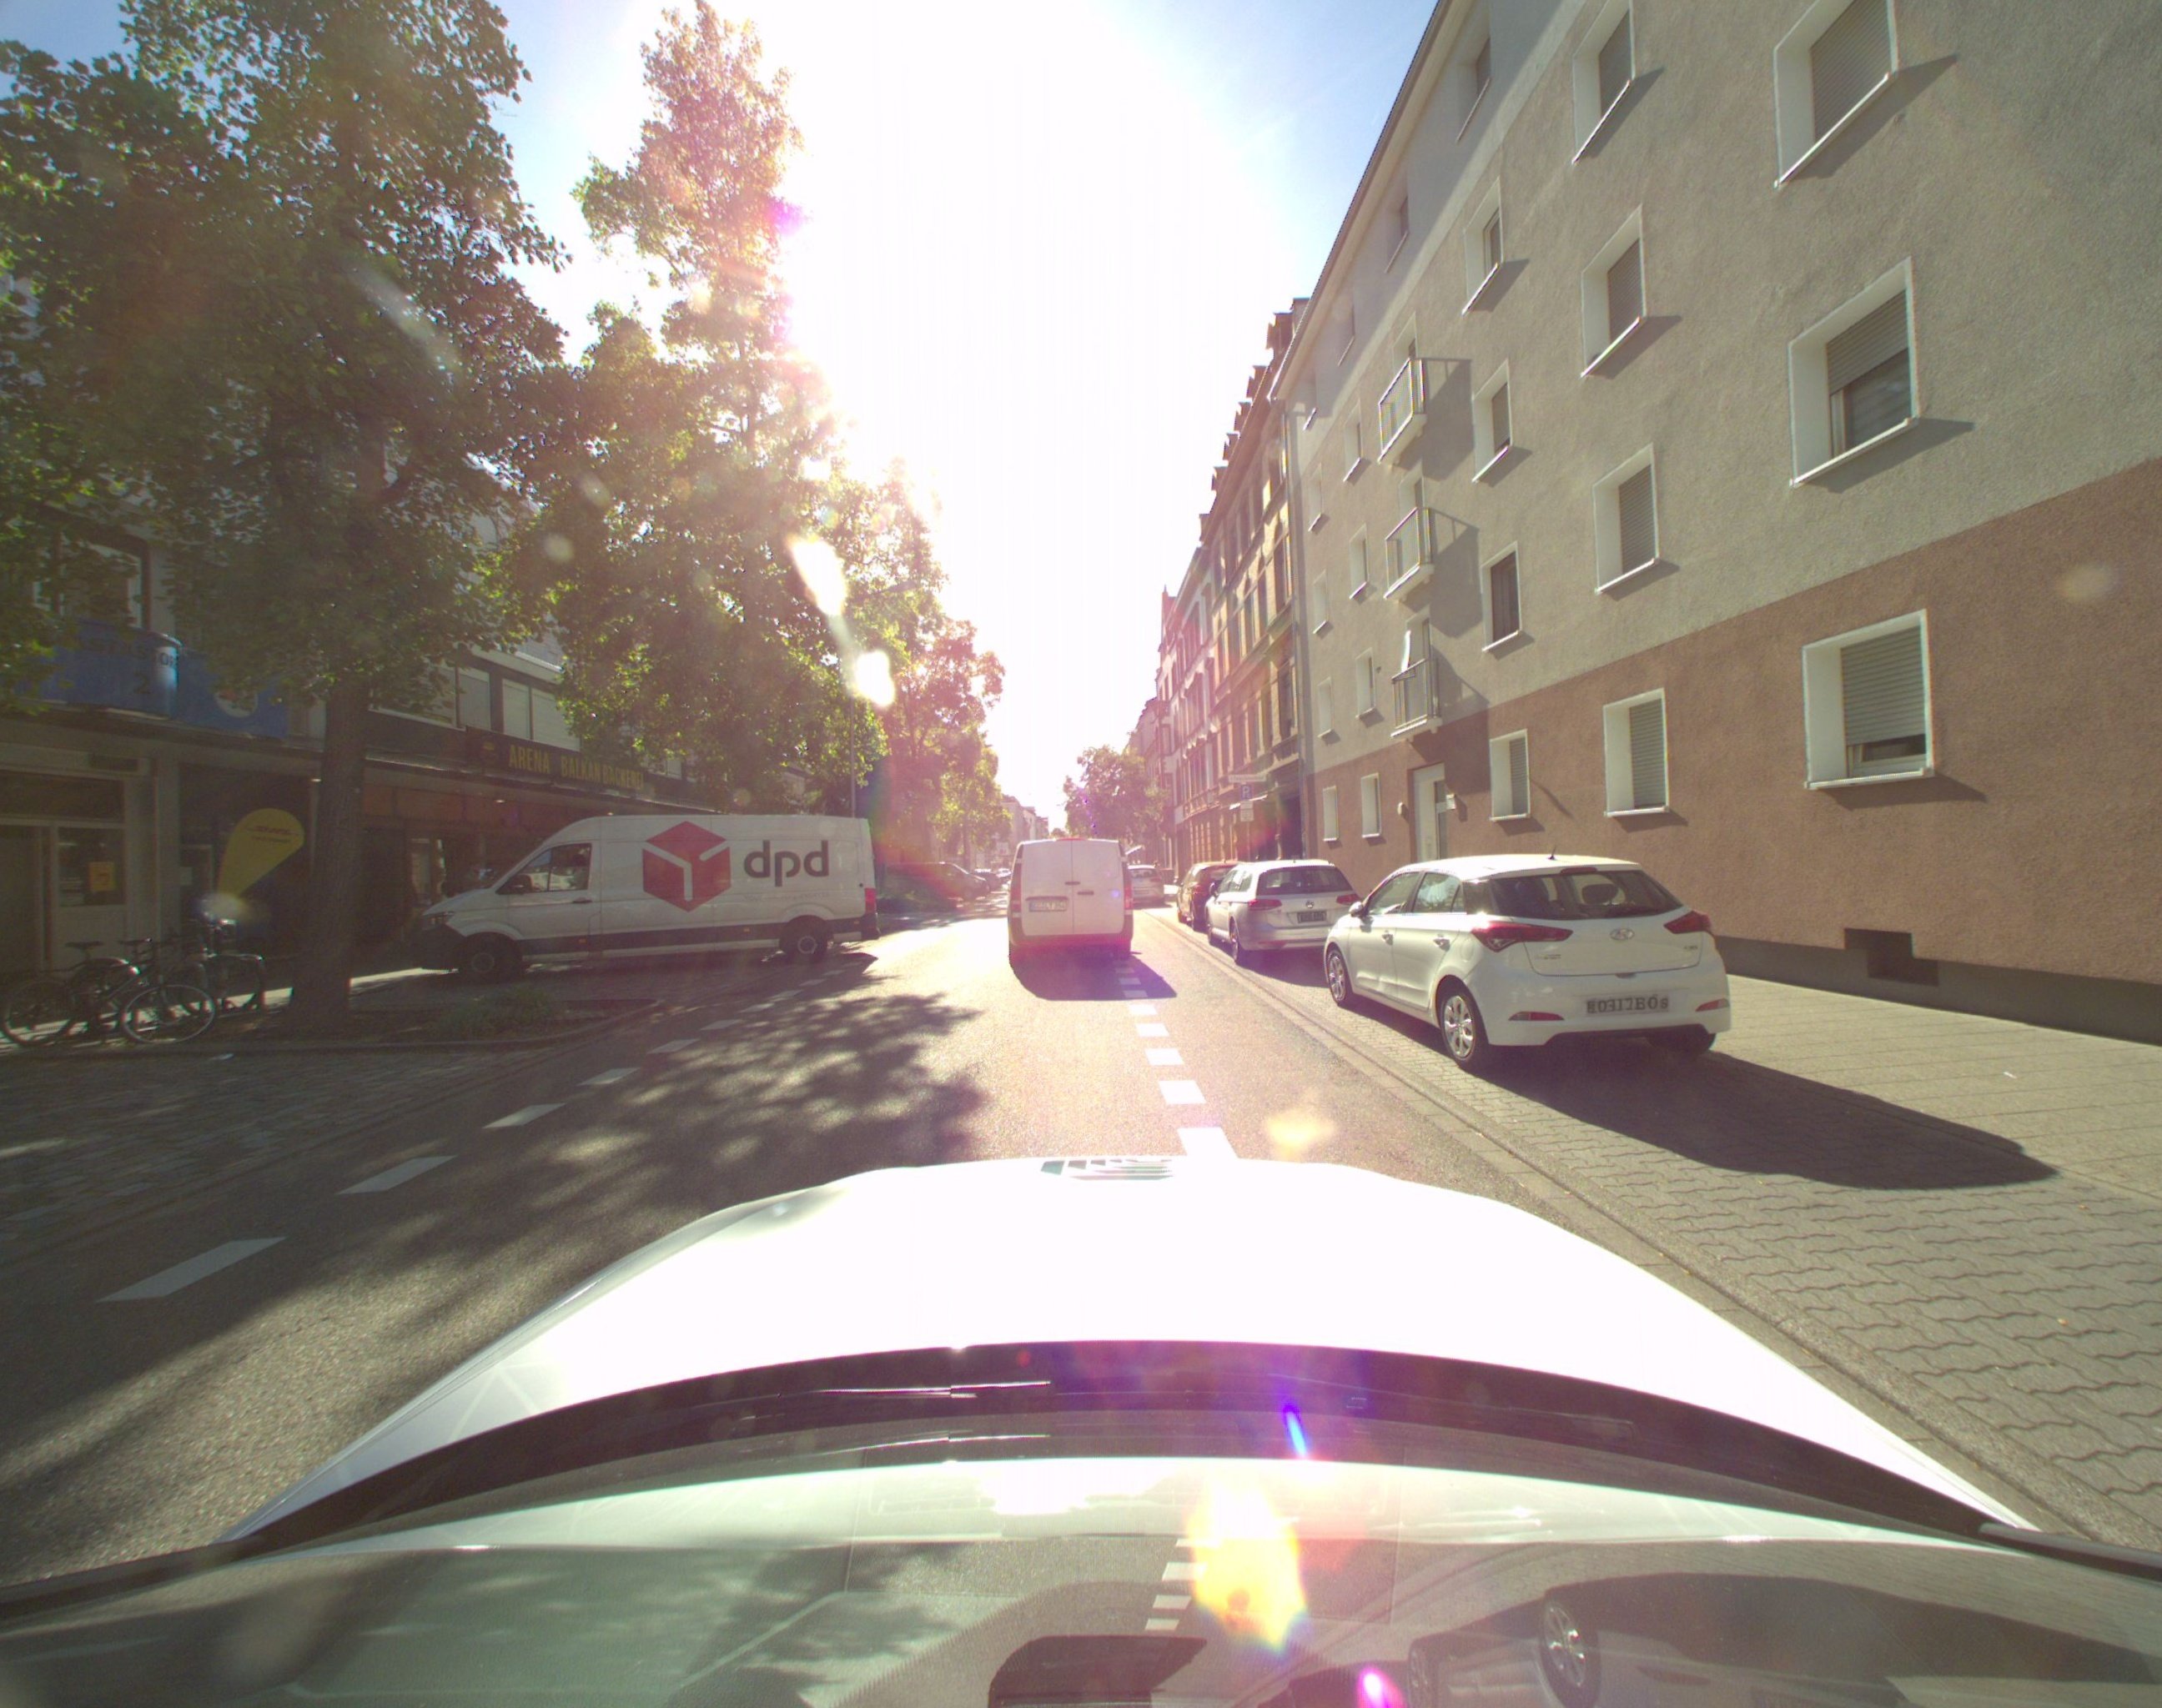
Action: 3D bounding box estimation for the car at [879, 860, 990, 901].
[{"bbox_3d":[-7.355,1.330,41.321,5.277,1.974,2.014,-1,-1,-2],"label":"car"}]

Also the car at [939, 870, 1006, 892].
[{"bbox_3d":[-7.379,1.843,55.434,4.290,1.460,1.762,0,-1,1],"label":"car"}]

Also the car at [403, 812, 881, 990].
[{"bbox_3d":[-6.945,0.611,13.786,6.617,2.474,1.983,-2,-1,-27],"label":"car"}]

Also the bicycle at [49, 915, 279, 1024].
[{"bbox_3d":[-9.975,1.237,8.897,1.861,1.107,0.587,0,-1,2],"label":"bicycle"}]

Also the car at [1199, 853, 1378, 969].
[{"bbox_3d":[3.098,0.793,13.145,1.779,1.460,4.517,-3,-1,1],"label":"car"}]

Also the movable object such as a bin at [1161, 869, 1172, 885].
[{"bbox_3d":[5.798,1.575,55.029,0.636,1.069,0.632,-2,-1,-2],"label":"movable object such as a bin"}]

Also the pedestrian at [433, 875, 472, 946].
[{"bbox_3d":[-13.381,1.190,17.356,0.467,1.473,0.420,-2,-1,-4],"label":"pedestrian"}]

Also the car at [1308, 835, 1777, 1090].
[{"bbox_3d":[3.443,0.700,7.020,1.727,1.486,3.791,-4,-1,-2],"label":"car"}]

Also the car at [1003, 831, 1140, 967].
[{"bbox_3d":[-0.362,0.661,14.051,1.918,1.914,4.877,-1,-1,-6],"label":"car"}]

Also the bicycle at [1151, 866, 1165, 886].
[{"bbox_3d":[4.790,1.390,50.723,0.534,1.148,2.124,-8,-2,1],"label":"bicycle"}]

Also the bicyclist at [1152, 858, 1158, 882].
[{"bbox_3d":[4.589,1.005,50.613,0.359,1.477,0.531,-1,-1,3],"label":"bicyclist"}]

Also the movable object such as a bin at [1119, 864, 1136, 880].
[{"bbox_3d":[4.108,1.563,71.970,1.028,1.348,1.116,-3,-1,38],"label":"movable object such as a bin"}]

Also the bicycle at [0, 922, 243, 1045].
[{"bbox_3d":[-9.426,1.250,8.014,1.712,1.117,0.623,0,-1,2],"label":"bicycle"}]

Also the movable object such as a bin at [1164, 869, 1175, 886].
[{"bbox_3d":[5.836,1.554,53.875,0.636,1.069,0.639,-2,-1,-2],"label":"movable object such as a bin"}]

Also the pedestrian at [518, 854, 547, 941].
[{"bbox_3d":[-12.378,0.983,18.385,0.389,1.934,0.361,-1,-2,0],"label":"pedestrian"}]

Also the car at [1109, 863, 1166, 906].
[{"bbox_3d":[2.074,1.112,30.721,1.734,1.451,3.997,-2,-1,-2],"label":"car"}]

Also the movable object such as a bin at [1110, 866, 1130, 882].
[{"bbox_3d":[3.353,1.728,70.756,1.279,1.348,1.095,-1,-1,-43],"label":"movable object such as a bin"}]

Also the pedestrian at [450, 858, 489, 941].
[{"bbox_3d":[-13.408,0.996,17.871,0.484,1.782,0.427,-2,-1,-4],"label":"pedestrian"}]

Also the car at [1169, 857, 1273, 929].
[{"bbox_3d":[3.187,0.862,19.199,1.704,1.480,3.708,-2,-1,-1],"label":"car"}]

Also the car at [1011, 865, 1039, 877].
[{"bbox_3d":[-8.158,2.533,118.729,3.980,1.640,1.997,-2,-1,-5],"label":"car"}]
